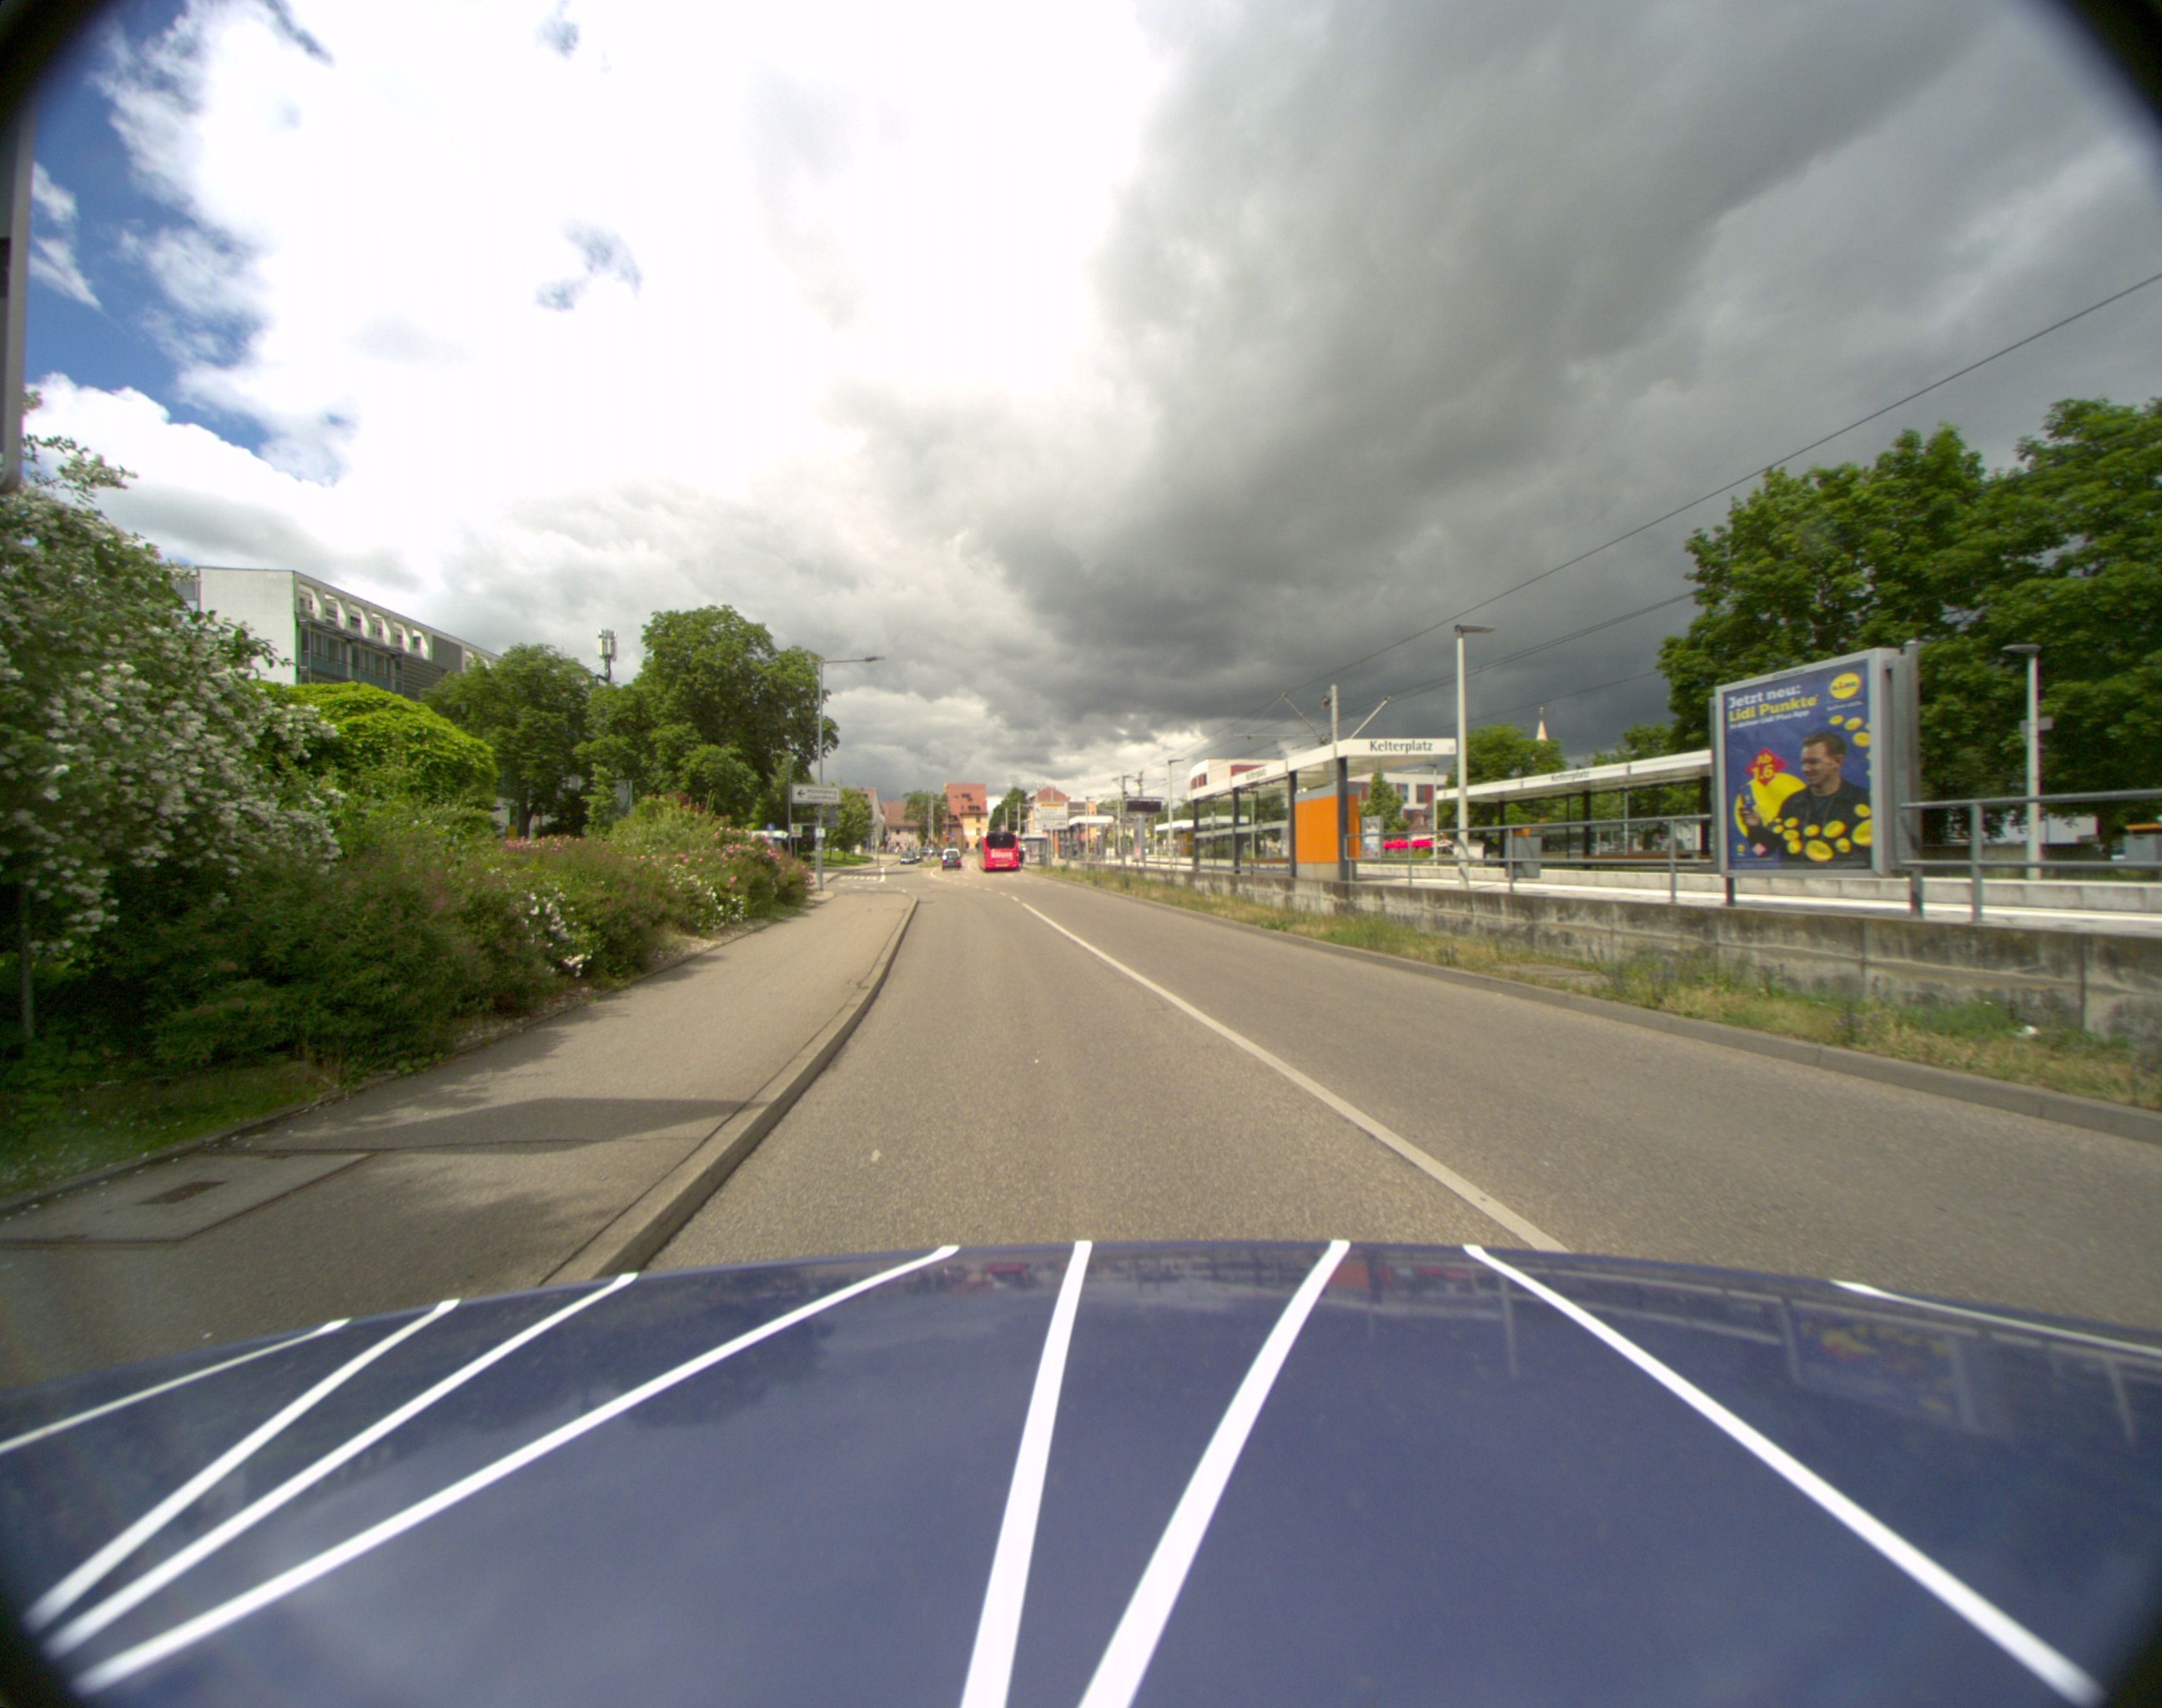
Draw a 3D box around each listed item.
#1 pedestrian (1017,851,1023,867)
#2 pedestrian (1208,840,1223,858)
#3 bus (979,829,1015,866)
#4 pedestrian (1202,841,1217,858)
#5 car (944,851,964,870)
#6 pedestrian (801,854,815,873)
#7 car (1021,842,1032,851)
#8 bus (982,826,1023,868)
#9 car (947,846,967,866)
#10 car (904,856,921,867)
[{"bbox_3d":[-5.442,0.422,68.027,0.423,1.395,0.408,-1,0,3],"label":"pedestrian"},{"bbox_3d":[9.751,-0.365,55.222,0.759,1.284,1.111,0,1,-8],"label":"pedestrian"},{"bbox_3d":[-7.702,-0.581,68.649,2.735,3.091,9.695,0,0,-9],"label":"bus"},{"bbox_3d":[9.545,-0.343,56.416,0.759,1.284,1.111,0,1,-8],"label":"pedestrian"},{"bbox_3d":[-10.997,0.546,66.117,1.534,1.542,3.729,-2,1,-7],"label":"car"},{"bbox_3d":[-20.891,0.731,58.178,0.822,1.416,0.829,0,2,-9],"label":"pedestrian"},{"bbox_3d":[-12.103,-1.601,169.125,2.081,1.887,4.658,-1,1,-8],"label":"car"},{"bbox_3d":[-6.265,-0.533,59.443,2.735,3.052,8.955,0,0,-9],"label":"bus"},{"bbox_3d":[-11.991,0.255,73.550,1.768,1.652,4.504,0,-4,-11],"label":"car"},{"bbox_3d":[-21.020,0.953,94.798,1.884,1.420,3.997,-1,-1,-11],"label":"car"}]
